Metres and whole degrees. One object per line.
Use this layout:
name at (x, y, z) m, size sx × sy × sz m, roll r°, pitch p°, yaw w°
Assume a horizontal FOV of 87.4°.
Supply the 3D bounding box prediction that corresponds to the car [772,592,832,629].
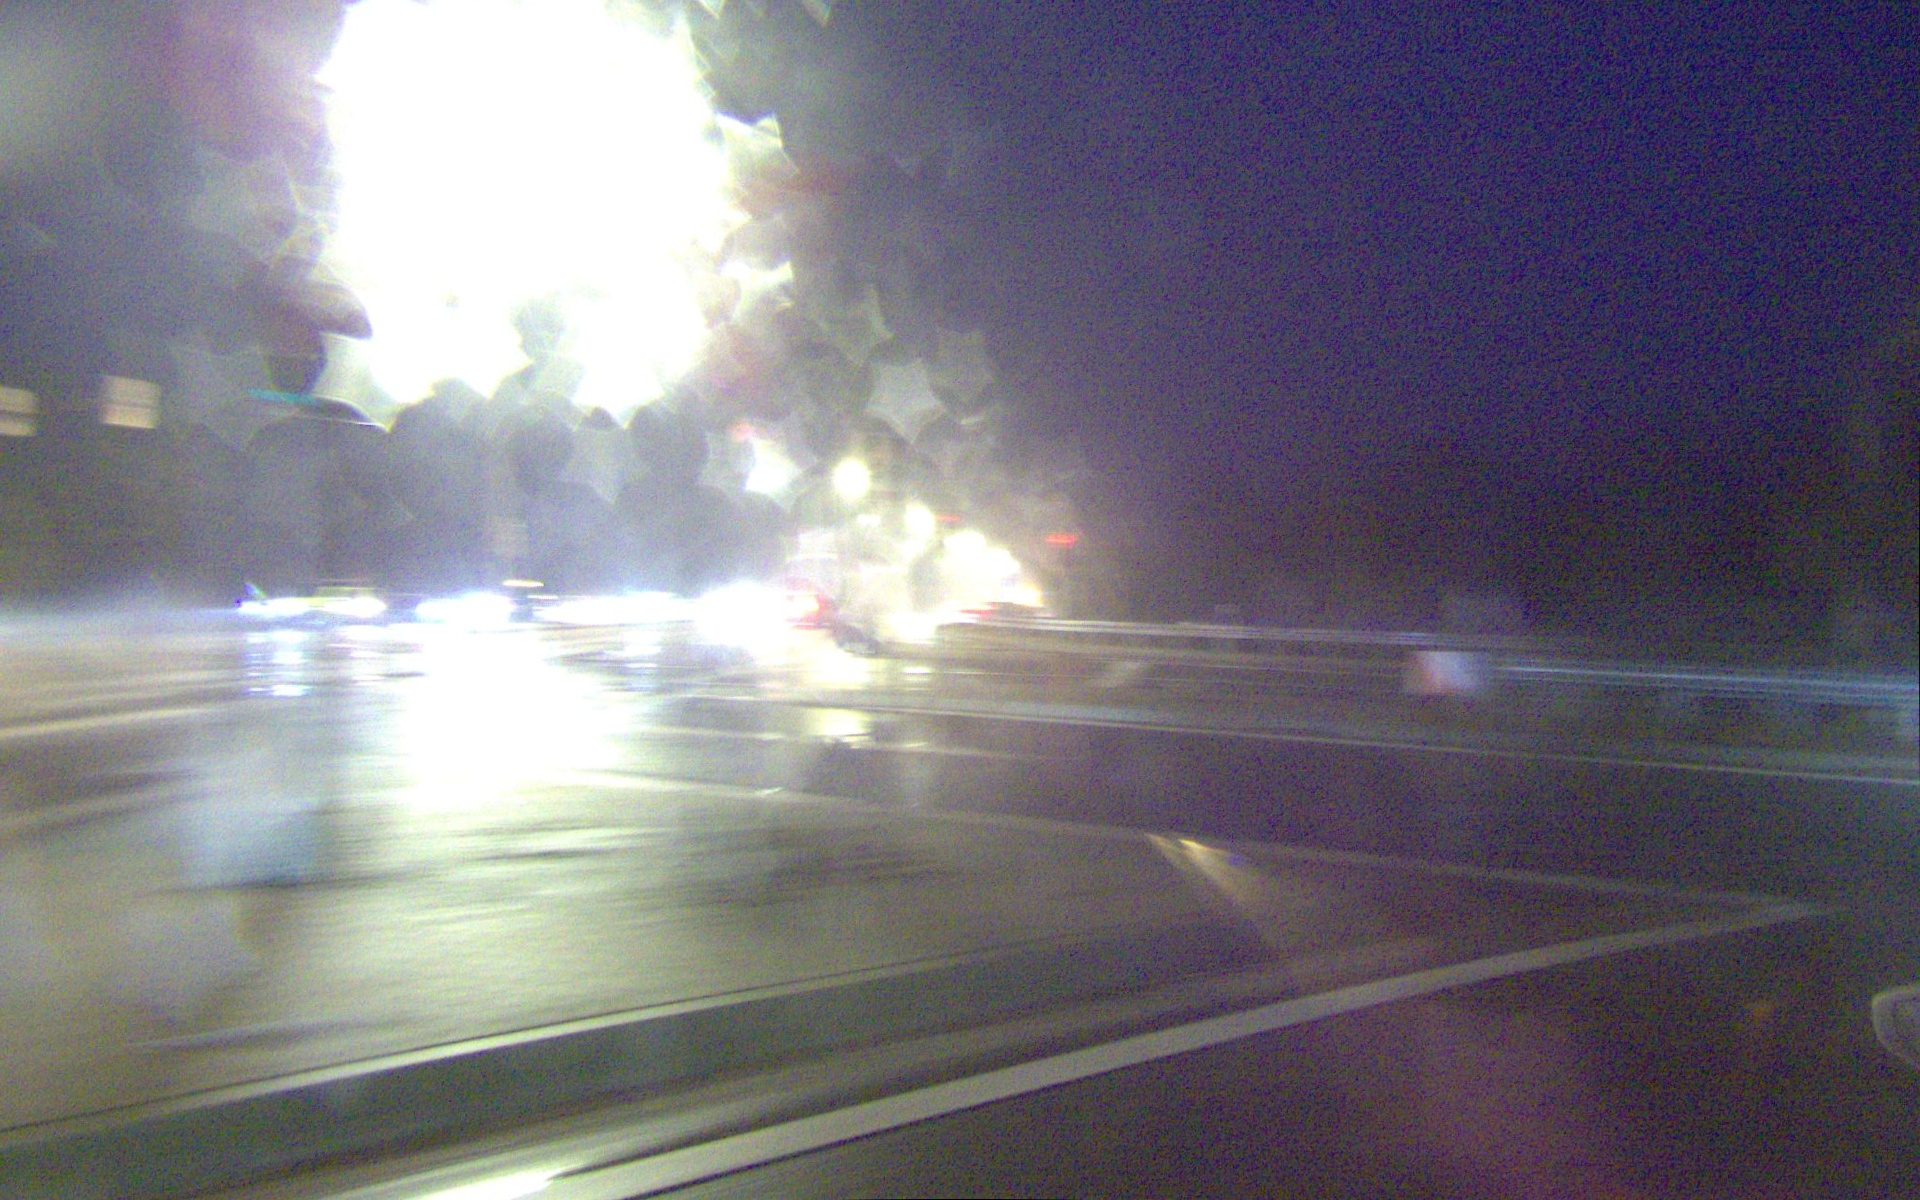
car at (-6.619, 0.410, 42.424) m, size 1.766 × 1.471 × 4.269 m, roll 1°, pitch 0°, yaw 1°

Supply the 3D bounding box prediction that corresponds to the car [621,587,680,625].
car at (-16.928, 0.317, 55.142) m, size 1.562 × 2.040 × 3.794 m, roll 1°, pitch 0°, yaw 9°

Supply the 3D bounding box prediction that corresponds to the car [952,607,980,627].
car at (0.660, 1.700, 99.803) m, size 2.141 × 1.622 × 4.003 m, roll 5°, pitch -2°, yaw 8°

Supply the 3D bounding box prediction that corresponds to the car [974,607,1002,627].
car at (2.646, 1.612, 93.701) m, size 1.877 × 1.622 × 4.004 m, roll 5°, pitch -2°, yaw 11°

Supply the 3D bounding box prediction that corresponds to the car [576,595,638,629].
car at (-20.250, 0.672, 57.841) m, size 1.719 × 1.864 × 4.017 m, roll 1°, pitch 0°, yaw 8°

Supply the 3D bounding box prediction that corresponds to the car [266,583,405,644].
car at (-22.411, 0.478, 36.292) m, size 1.856 × 2.044 × 4.355 m, roll 1°, pitch 0°, yaw 9°

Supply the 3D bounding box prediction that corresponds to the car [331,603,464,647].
car at (-19.313, 0.799, 34.718) m, size 1.618 × 1.377 × 4.457 m, roll 1°, pitch 0°, yaw 8°

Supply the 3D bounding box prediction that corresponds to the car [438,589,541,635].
car at (-15.839, 0.381, 34.004) m, size 1.562 × 1.446 × 3.352 m, roll 1°, pitch 0°, yaw 8°

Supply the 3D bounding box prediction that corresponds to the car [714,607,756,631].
car at (-15.552, 1.324, 69.703) m, size 1.721 × 1.563 × 3.793 m, roll 1°, pitch 0°, yaw 6°
